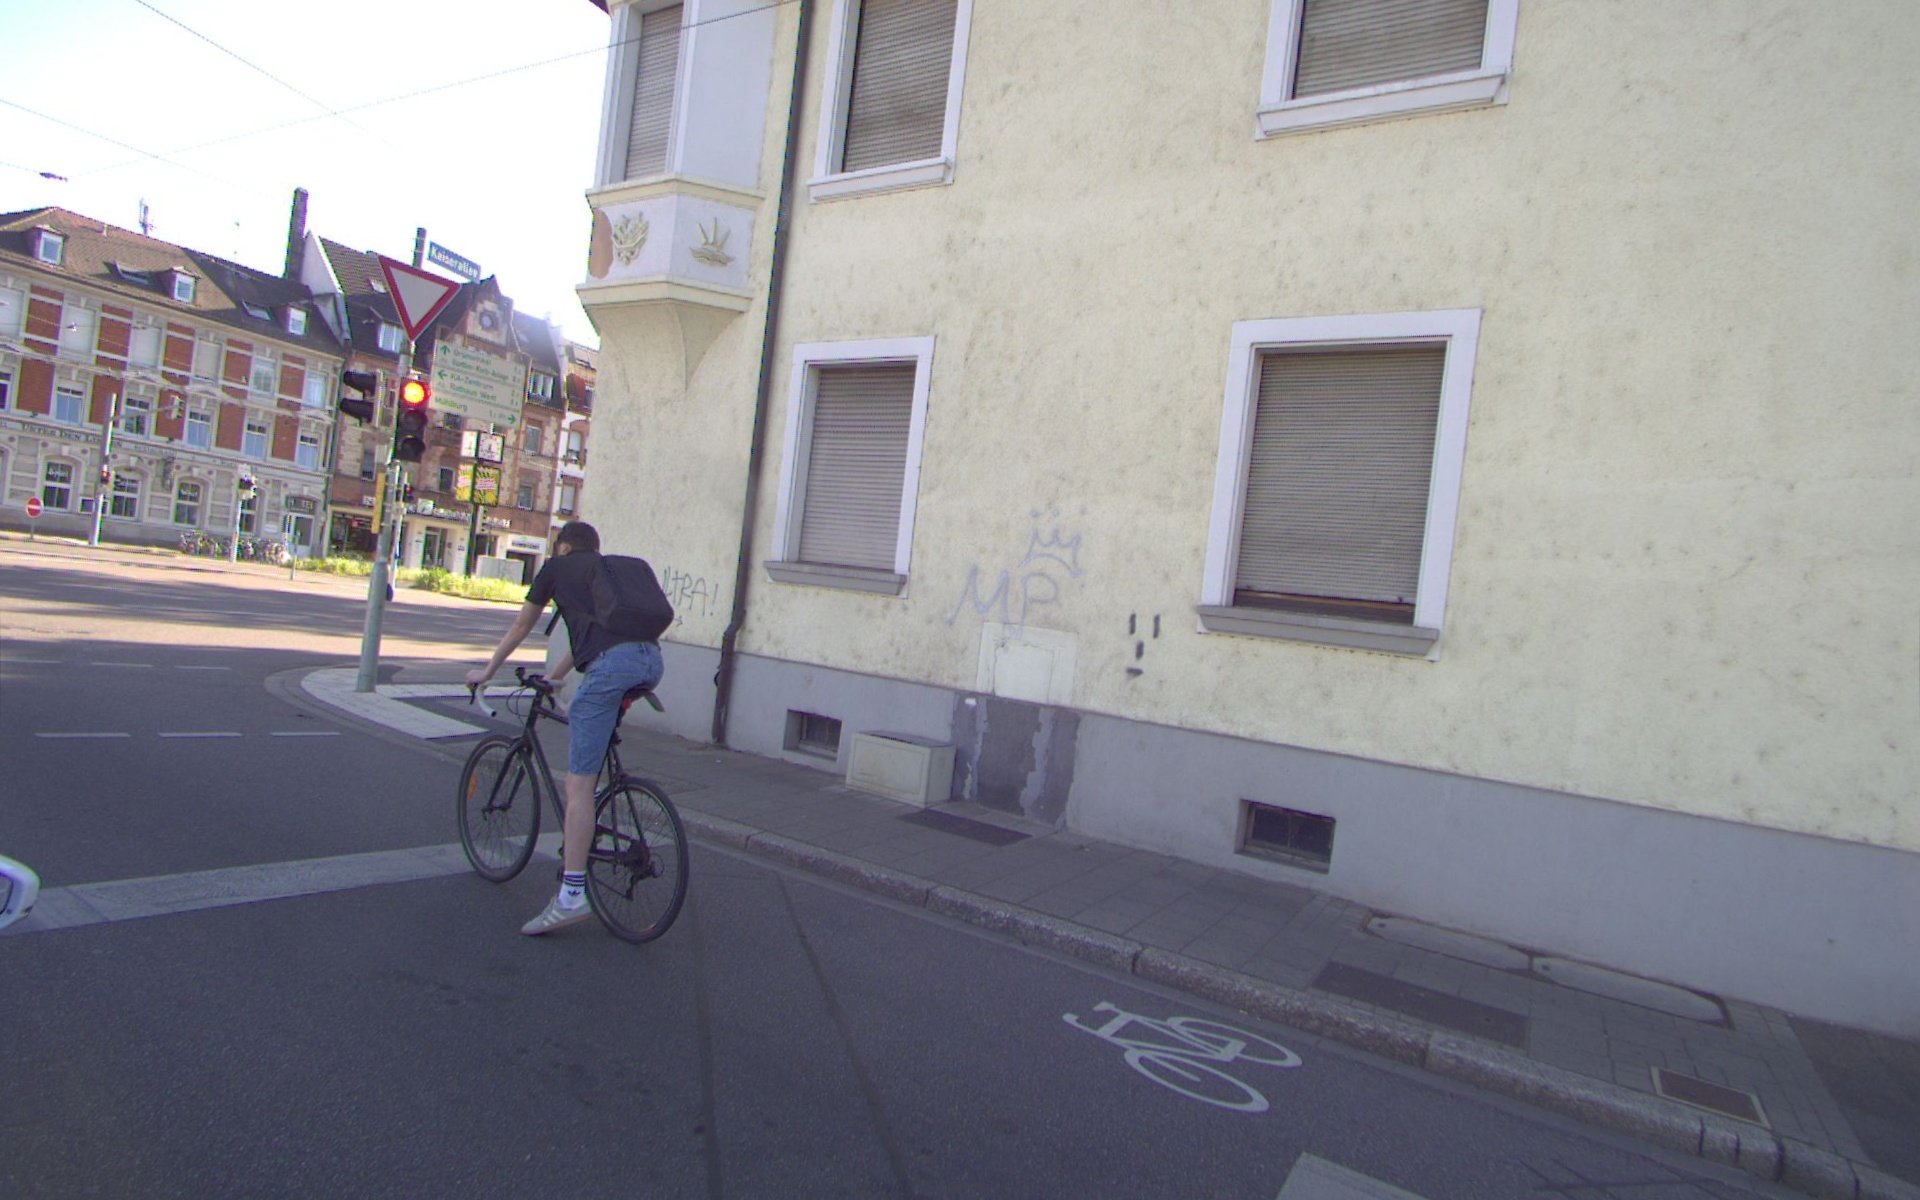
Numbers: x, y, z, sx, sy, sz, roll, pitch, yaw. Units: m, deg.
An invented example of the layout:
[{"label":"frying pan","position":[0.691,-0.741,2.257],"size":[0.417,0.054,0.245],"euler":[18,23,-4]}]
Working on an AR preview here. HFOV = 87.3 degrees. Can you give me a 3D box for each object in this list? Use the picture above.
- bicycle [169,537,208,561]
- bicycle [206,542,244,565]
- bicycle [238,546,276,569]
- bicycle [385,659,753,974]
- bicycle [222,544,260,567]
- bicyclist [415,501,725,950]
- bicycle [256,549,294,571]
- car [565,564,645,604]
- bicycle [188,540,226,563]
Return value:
[{"label":"bicycle","position":[-34.871,-2.303,45.477],"size":[2.125,0.850,0.659],"euler":[6,-2,33]},{"label":"bicycle","position":[-34.181,-2.161,46.765],"size":[2.125,0.850,0.659],"euler":[6,-2,33]},{"label":"bicycle","position":[-33.492,-2.025,47.892],"size":[2.125,0.850,0.659],"euler":[6,-2,33]},{"label":"bicycle","position":[-1.793,0.874,4.505],"size":[1.721,0.982,0.519],"euler":[7,0,32]},{"label":"bicycle","position":[-33.847,-2.093,47.362],"size":[2.125,0.850,0.659],"euler":[6,-2,33]},{"label":"bicyclist","position":[-1.746,0.490,4.484],"size":[1.098,1.722,0.573],"euler":[7,0,32]},{"label":"bicycle","position":[-33.104,-1.946,48.597],"size":[2.125,0.850,0.659],"euler":[6,-2,33]},{"label":"car","position":[-23.013,-1.004,65.323],"size":[1.968,2.038,4.430],"euler":[7,-1,34]},{"label":"bicycle","position":[-34.555,-2.235,46.144],"size":[2.125,0.850,0.659],"euler":[6,-2,33]}]
